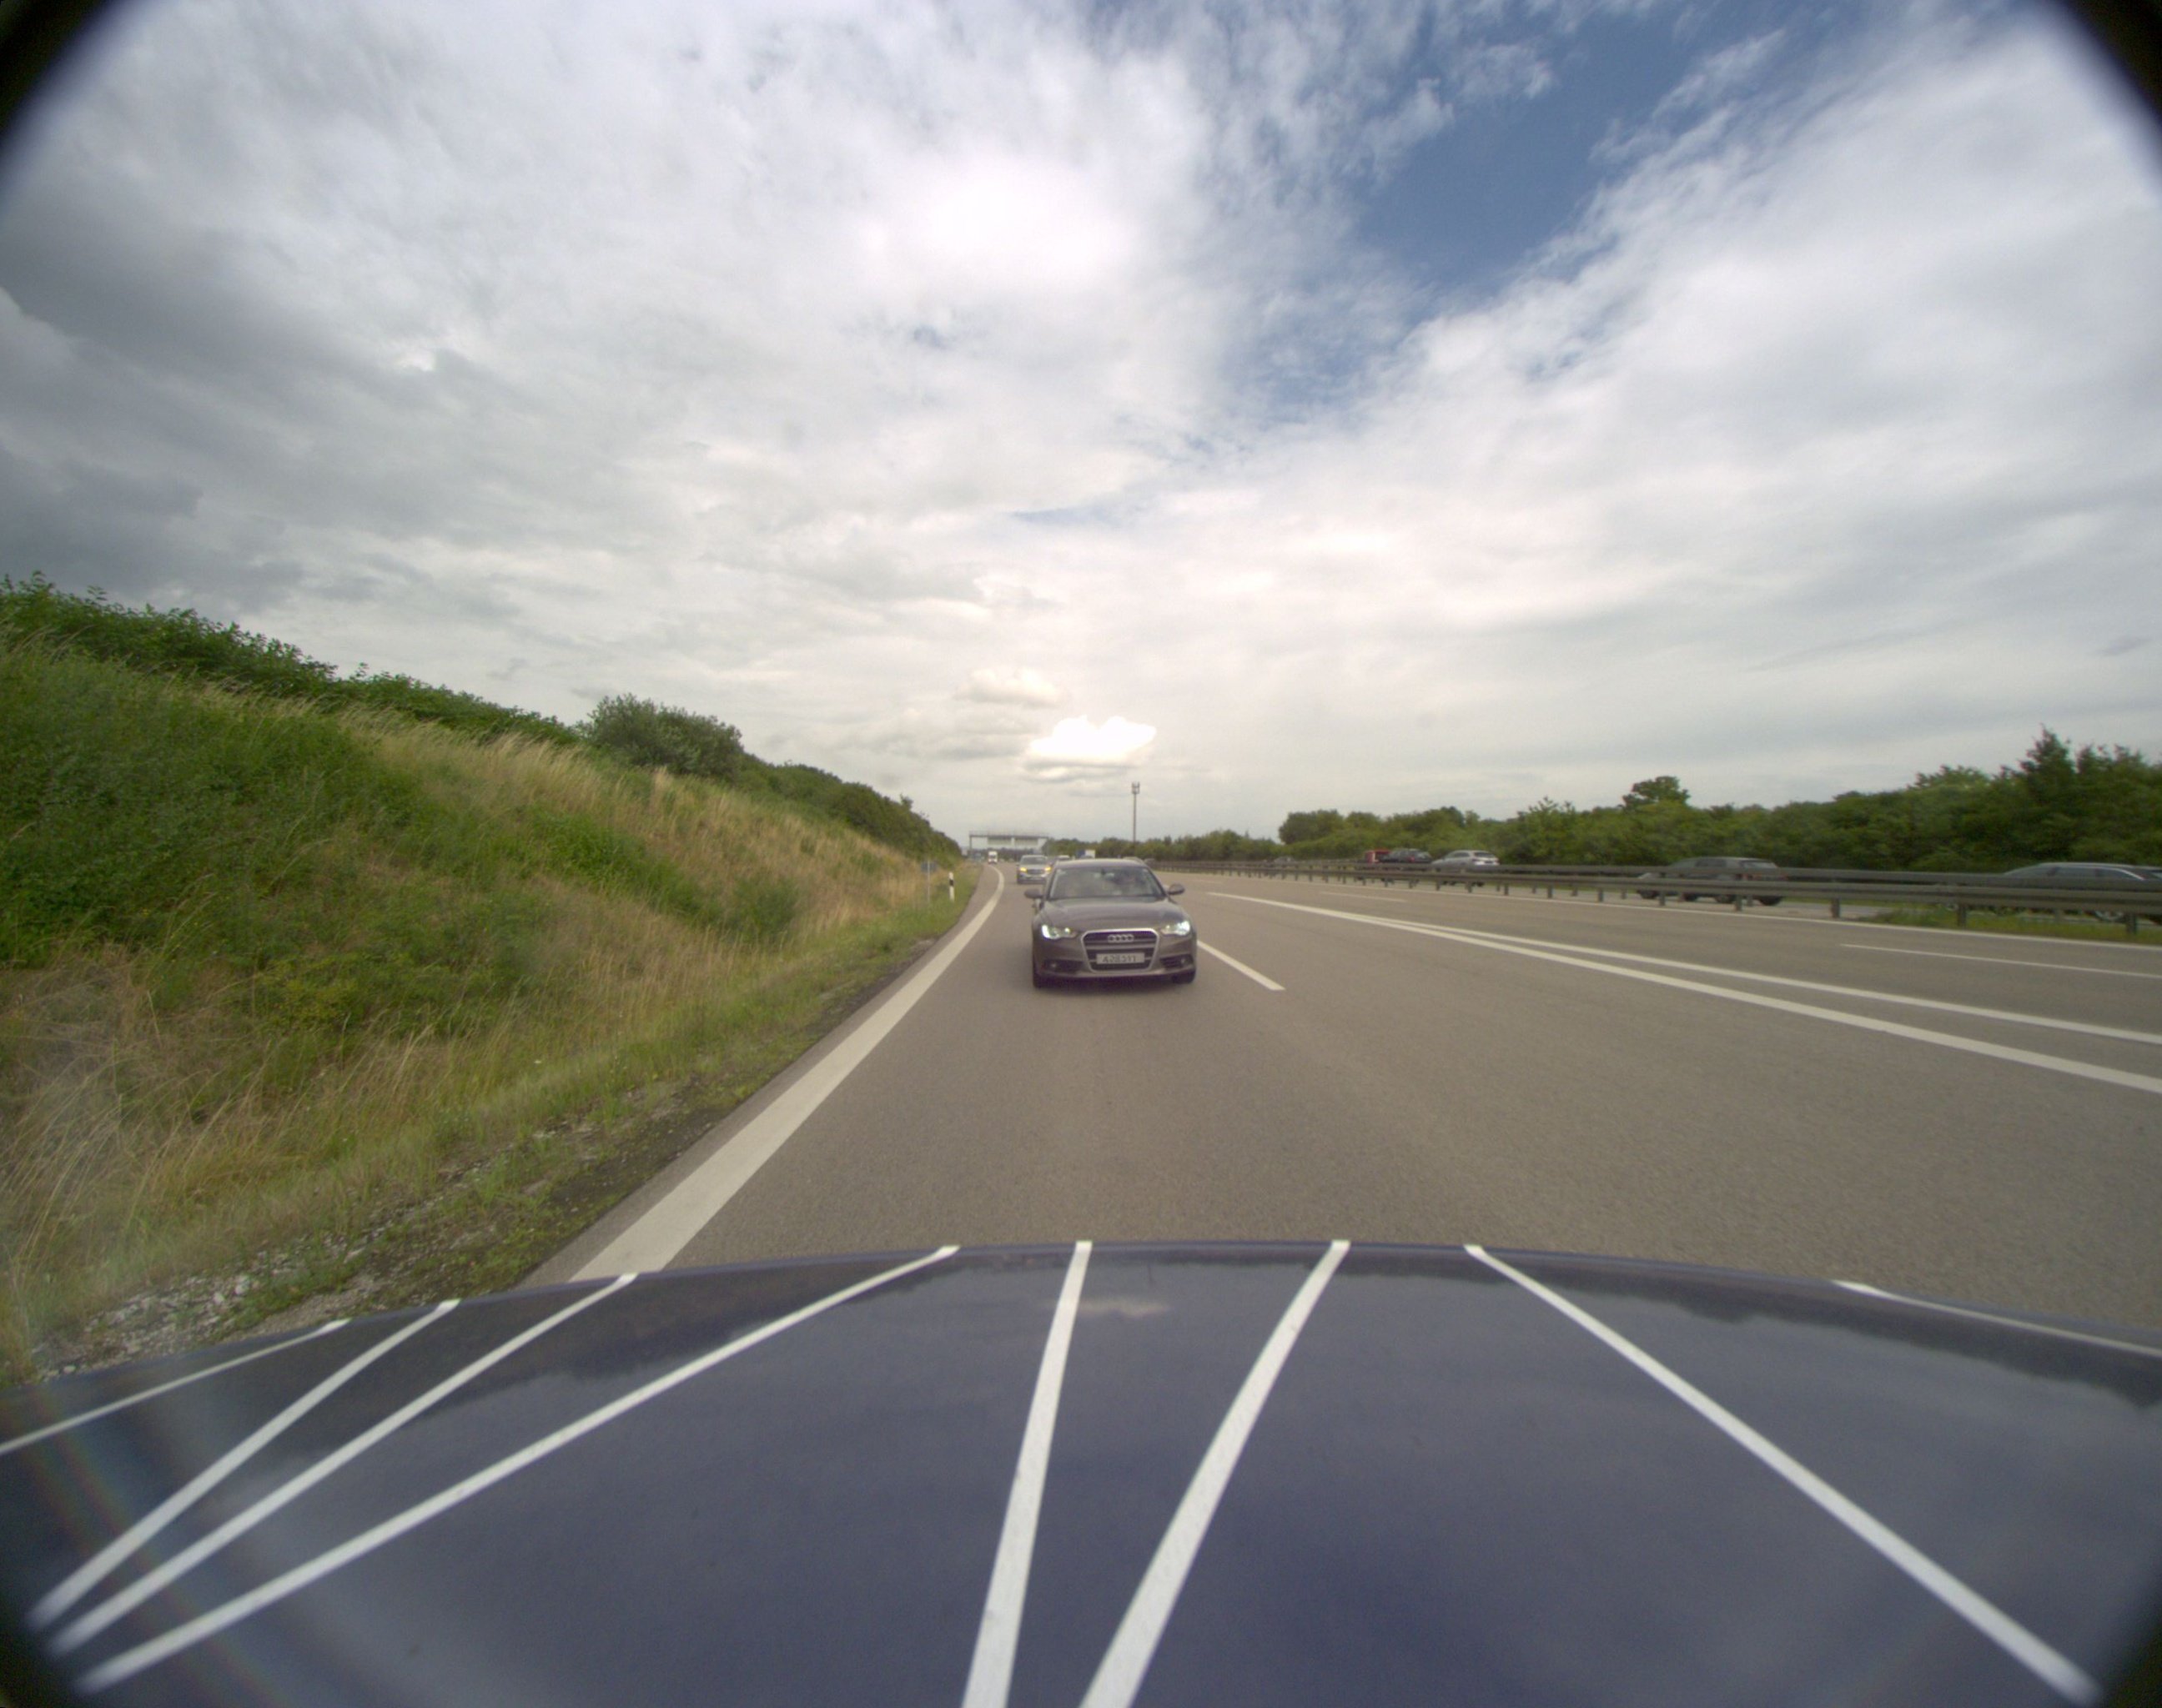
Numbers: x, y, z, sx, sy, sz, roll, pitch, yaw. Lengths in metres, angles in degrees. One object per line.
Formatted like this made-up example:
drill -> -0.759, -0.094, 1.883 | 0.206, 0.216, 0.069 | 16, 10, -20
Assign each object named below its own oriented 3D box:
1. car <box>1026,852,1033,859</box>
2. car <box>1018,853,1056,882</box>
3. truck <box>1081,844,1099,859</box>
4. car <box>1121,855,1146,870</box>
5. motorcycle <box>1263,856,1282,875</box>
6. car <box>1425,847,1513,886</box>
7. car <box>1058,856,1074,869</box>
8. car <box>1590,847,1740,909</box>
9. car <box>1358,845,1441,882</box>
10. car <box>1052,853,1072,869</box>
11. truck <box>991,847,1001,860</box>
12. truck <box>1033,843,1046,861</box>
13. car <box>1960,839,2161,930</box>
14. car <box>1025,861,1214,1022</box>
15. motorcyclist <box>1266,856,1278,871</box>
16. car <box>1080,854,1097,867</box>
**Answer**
car -> -16.031, 0.433, 236.403 | 2.000, 2.002, 3.996 | -2, 1, -10
car -> -2.531, 0.755, 43.351 | 1.999, 1.567, 3.998 | -1, 0, -5
truck -> 2.339, -0.705, 197.406 | 3.168, 3.508, 9.971 | -2, 1, -8
car -> 5.143, 0.849, 75.427 | 1.727, 1.415, 4.794 | 0, 0, -6
motorcycle -> 15.485, 0.887, 61.430 | 0.659, 1.436, 2.394 | -2, 1, -6
car -> 22.372, 0.673, 44.067 | 2.169, 2.120, 4.871 | -1, 0, -7
car -> -2.164, 1.196, 105.480 | 1.882, 1.741, 4.484 | -1, 0, -5
car -> 20.561, 0.798, 27.005 | 2.000, 2.002, 3.997 | -1, 0, -7
car -> 21.299, 0.573, 51.273 | 2.169, 2.317, 6.673 | -1, 0, -7
car -> -1.986, 0.702, 79.164 | 1.839, 1.557, 4.495 | -1, 0, -5
truck -> -21.767, -0.065, 194.718 | 2.450, 3.216, 7.187 | -1, 0, -6
truck -> -8.539, -0.357, 156.213 | 2.475, 3.350, 7.922 | -1, -2, -5
car -> 25.202, 0.660, 18.856 | 2.000, 2.002, 3.997 | -2, 1, -8
car -> 0.264, 0.881, 9.555 | 1.849, 1.489, 4.027 | -2, 0, -4
motorcyclist -> 15.481, 0.767, 61.470 | 0.659, 1.245, 0.823 | -2, 1, -6
car -> 1.158, 0.962, 114.377 | 1.999, 1.775, 5.409 | -1, 0, -5
